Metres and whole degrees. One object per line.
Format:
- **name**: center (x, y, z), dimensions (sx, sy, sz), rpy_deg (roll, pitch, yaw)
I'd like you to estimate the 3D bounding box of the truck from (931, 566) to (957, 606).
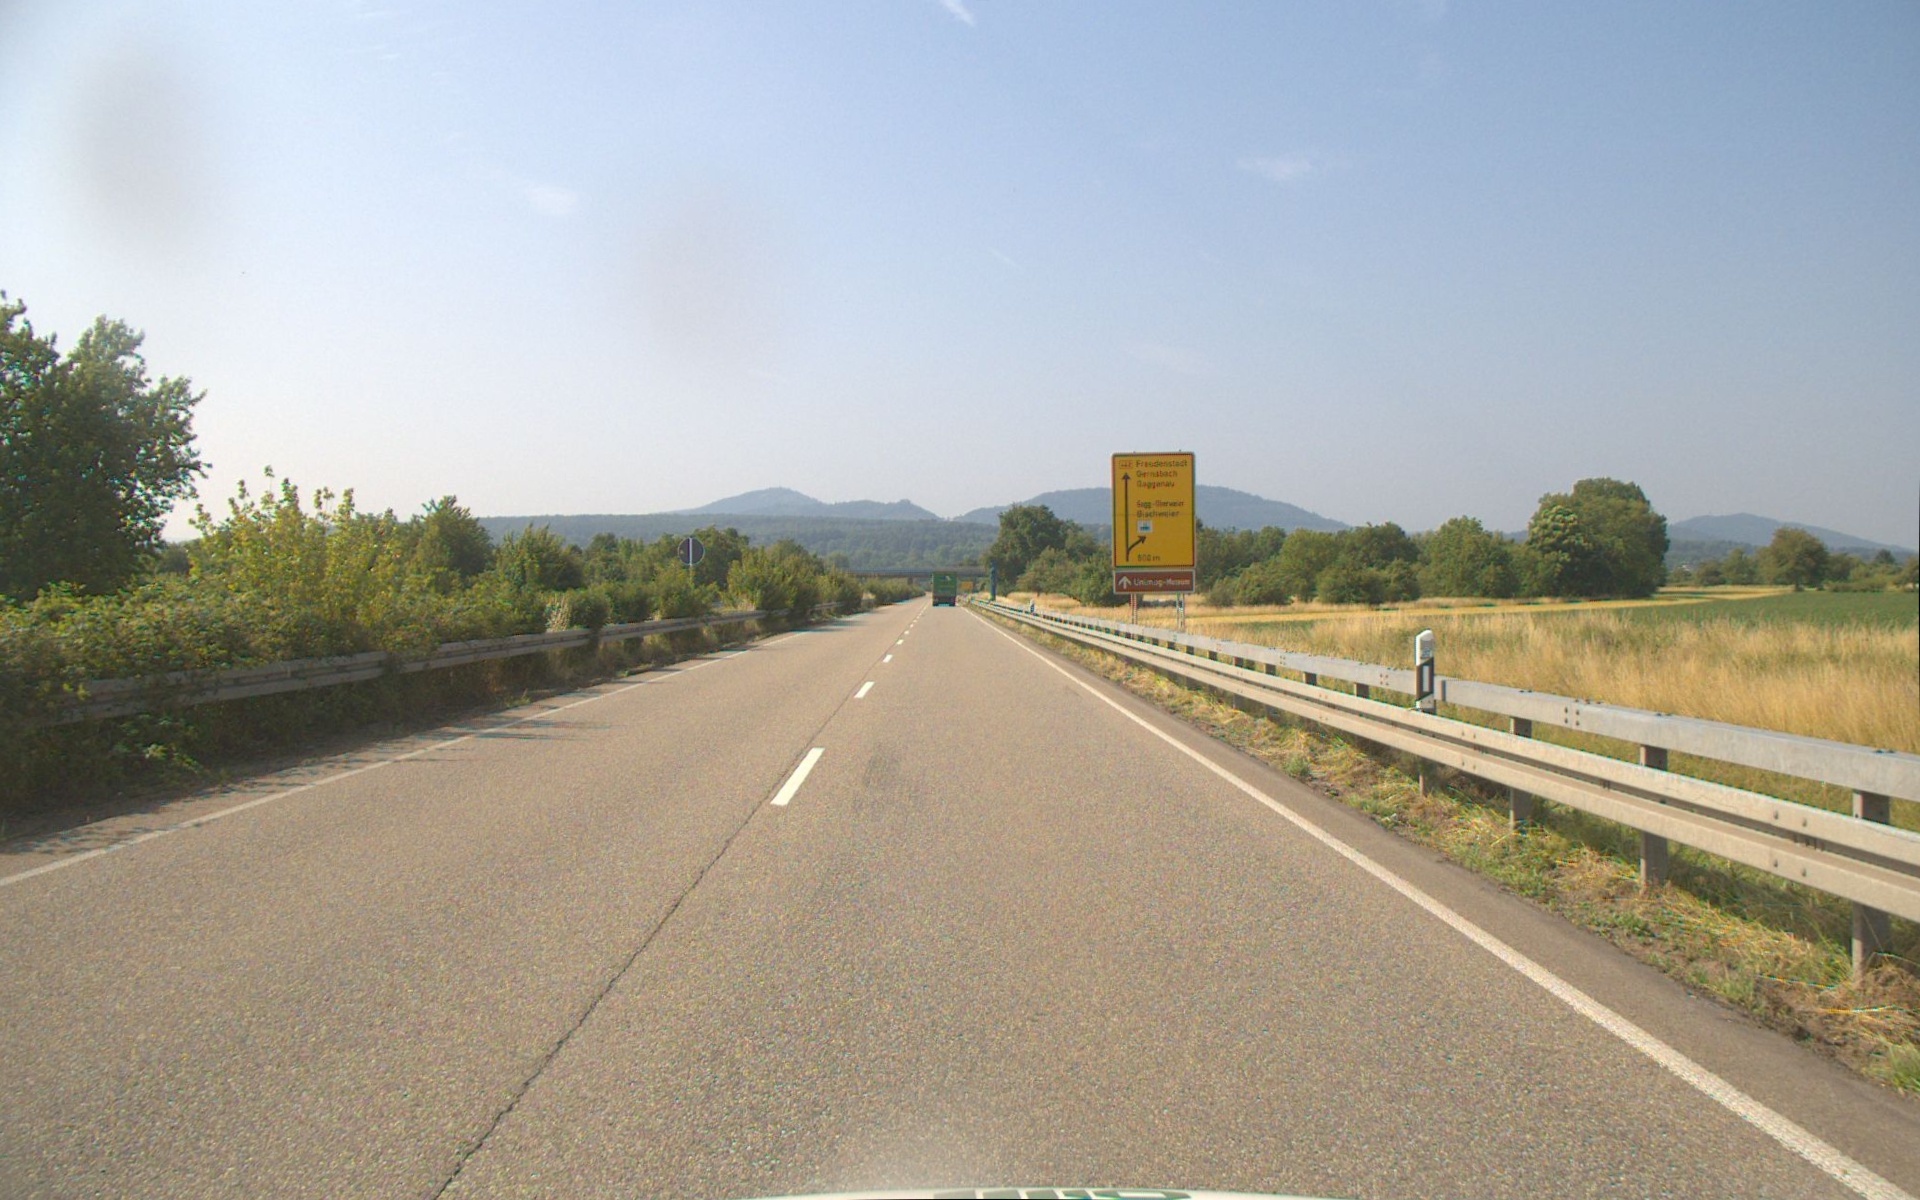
- **truck**: center (-1.692, -1.562, 178.529), dimensions (2.667, 4.034, 10.416), rpy_deg (1, 1, 0)
